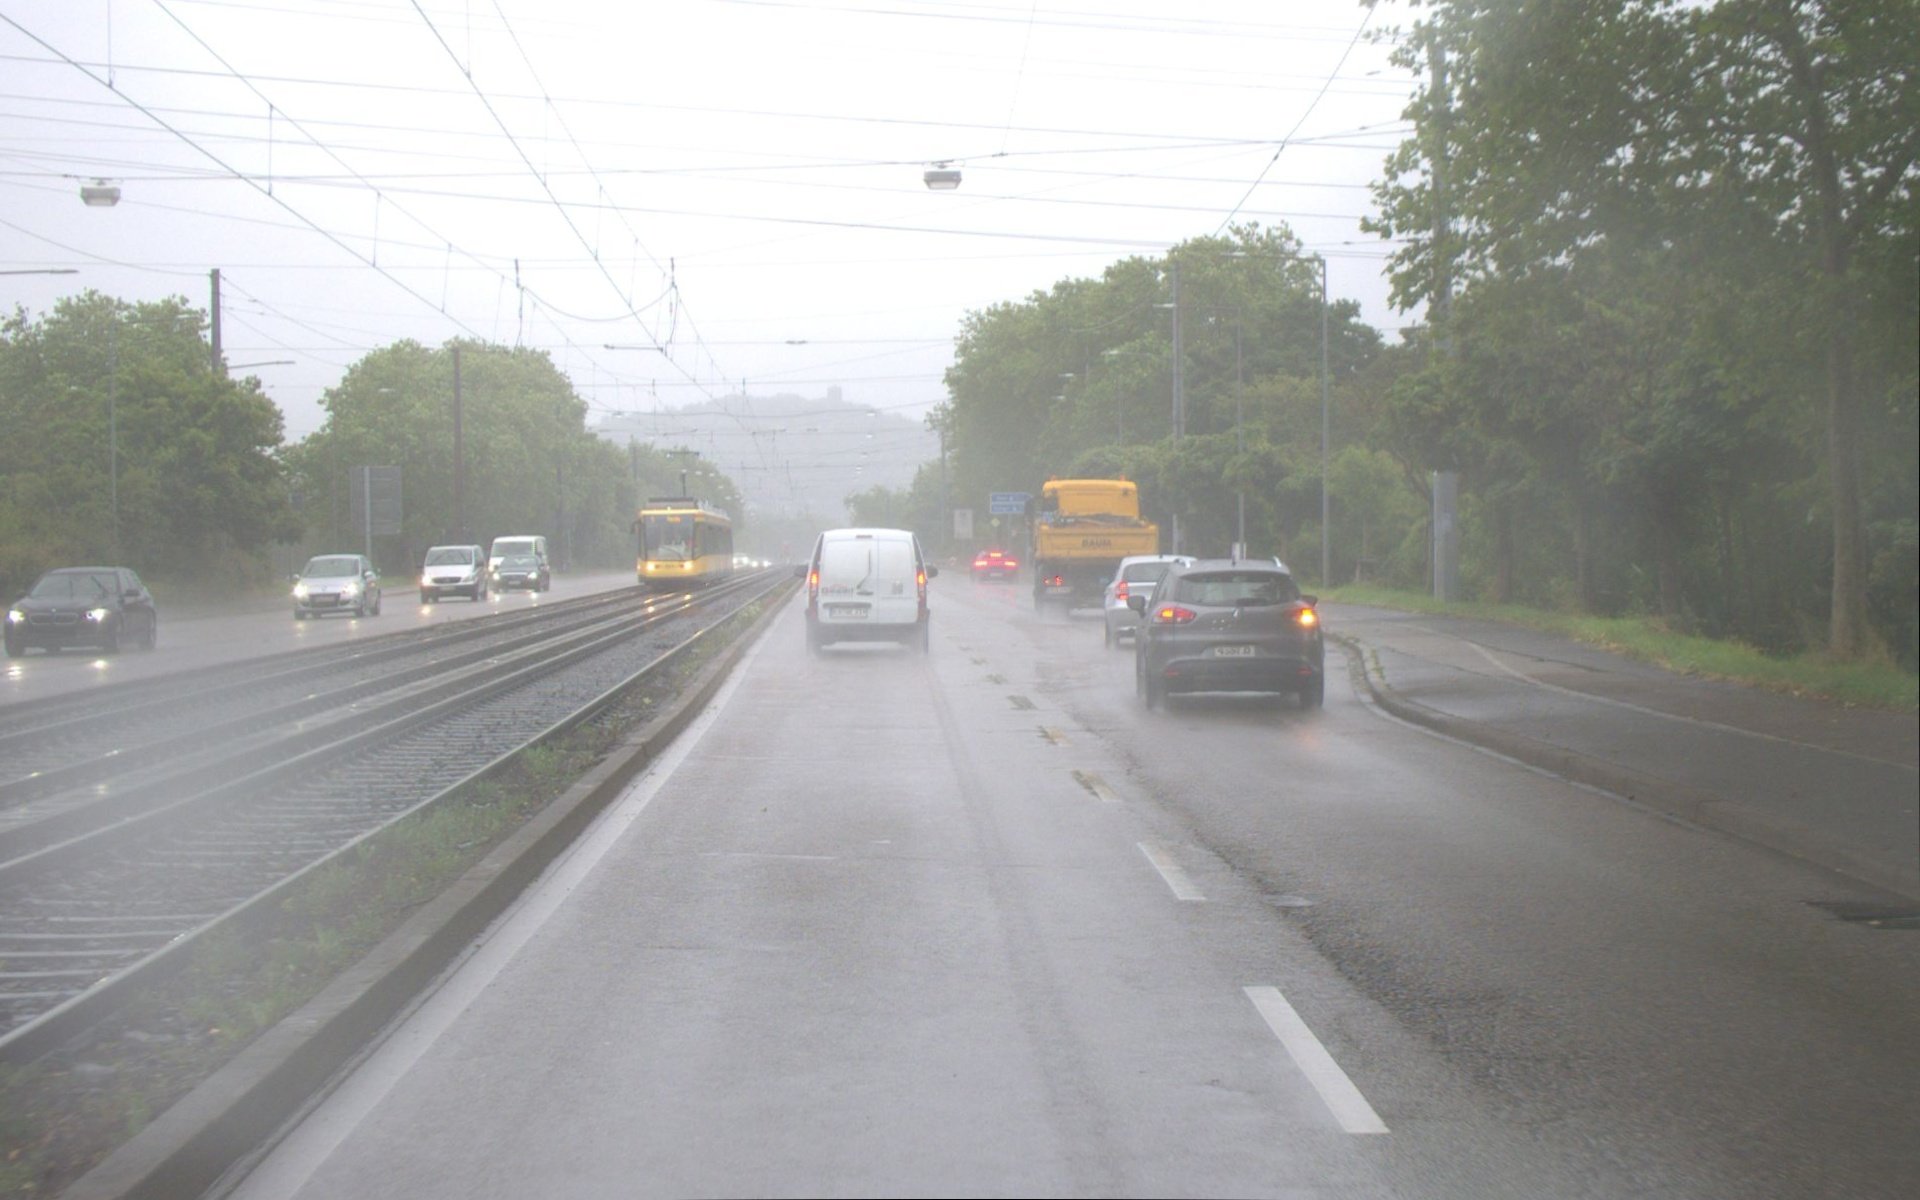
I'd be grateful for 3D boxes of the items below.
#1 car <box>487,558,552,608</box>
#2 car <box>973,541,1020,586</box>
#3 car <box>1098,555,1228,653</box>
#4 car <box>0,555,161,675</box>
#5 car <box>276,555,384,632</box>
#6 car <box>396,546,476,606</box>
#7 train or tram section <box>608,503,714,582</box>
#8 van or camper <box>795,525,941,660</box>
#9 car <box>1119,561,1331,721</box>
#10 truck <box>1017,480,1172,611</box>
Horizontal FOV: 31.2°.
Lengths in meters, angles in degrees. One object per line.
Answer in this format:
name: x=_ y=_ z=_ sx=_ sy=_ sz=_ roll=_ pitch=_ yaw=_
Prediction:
car: x=-17.316 y=-0.696 z=135.346 sx=1.993 sy=1.897 sz=4.000 roll=0 pitch=1 yaw=1
car: x=1.563 y=-1.589 z=147.985 sx=1.993 sy=1.897 sz=4.000 roll=0 pitch=1 yaw=1
car: x=3.145 y=0.036 z=53.863 sx=1.818 sy=1.409 sz=3.779 roll=0 pitch=2 yaw=0
car: x=-14.985 y=0.215 z=58.025 sx=1.993 sy=1.897 sz=4.000 roll=0 pitch=1 yaw=1
car: x=-16.312 y=-0.185 z=89.204 sx=1.993 sy=1.897 sz=4.000 roll=0 pitch=1 yaw=1
car: x=-17.463 y=-0.819 z=114.736 sx=1.993 sy=1.897 sz=4.000 roll=0 pitch=1 yaw=1
train or tram section: x=-11.661 y=-2.306 z=135.443 sx=2.850 sy=2.884 sz=14.007 roll=-1 pitch=1 yaw=0
van or camper: x=-1.375 y=-0.141 z=49.881 sx=1.993 sy=1.778 sz=4.001 roll=1 pitch=2 yaw=-3
car: x=2.566 y=0.364 z=34.097 sx=1.818 sy=1.409 sz=3.779 roll=0 pitch=2 yaw=0
truck: x=2.899 y=-1.217 z=75.742 sx=3.113 sy=2.763 sz=6.330 roll=0 pitch=1 yaw=-1
